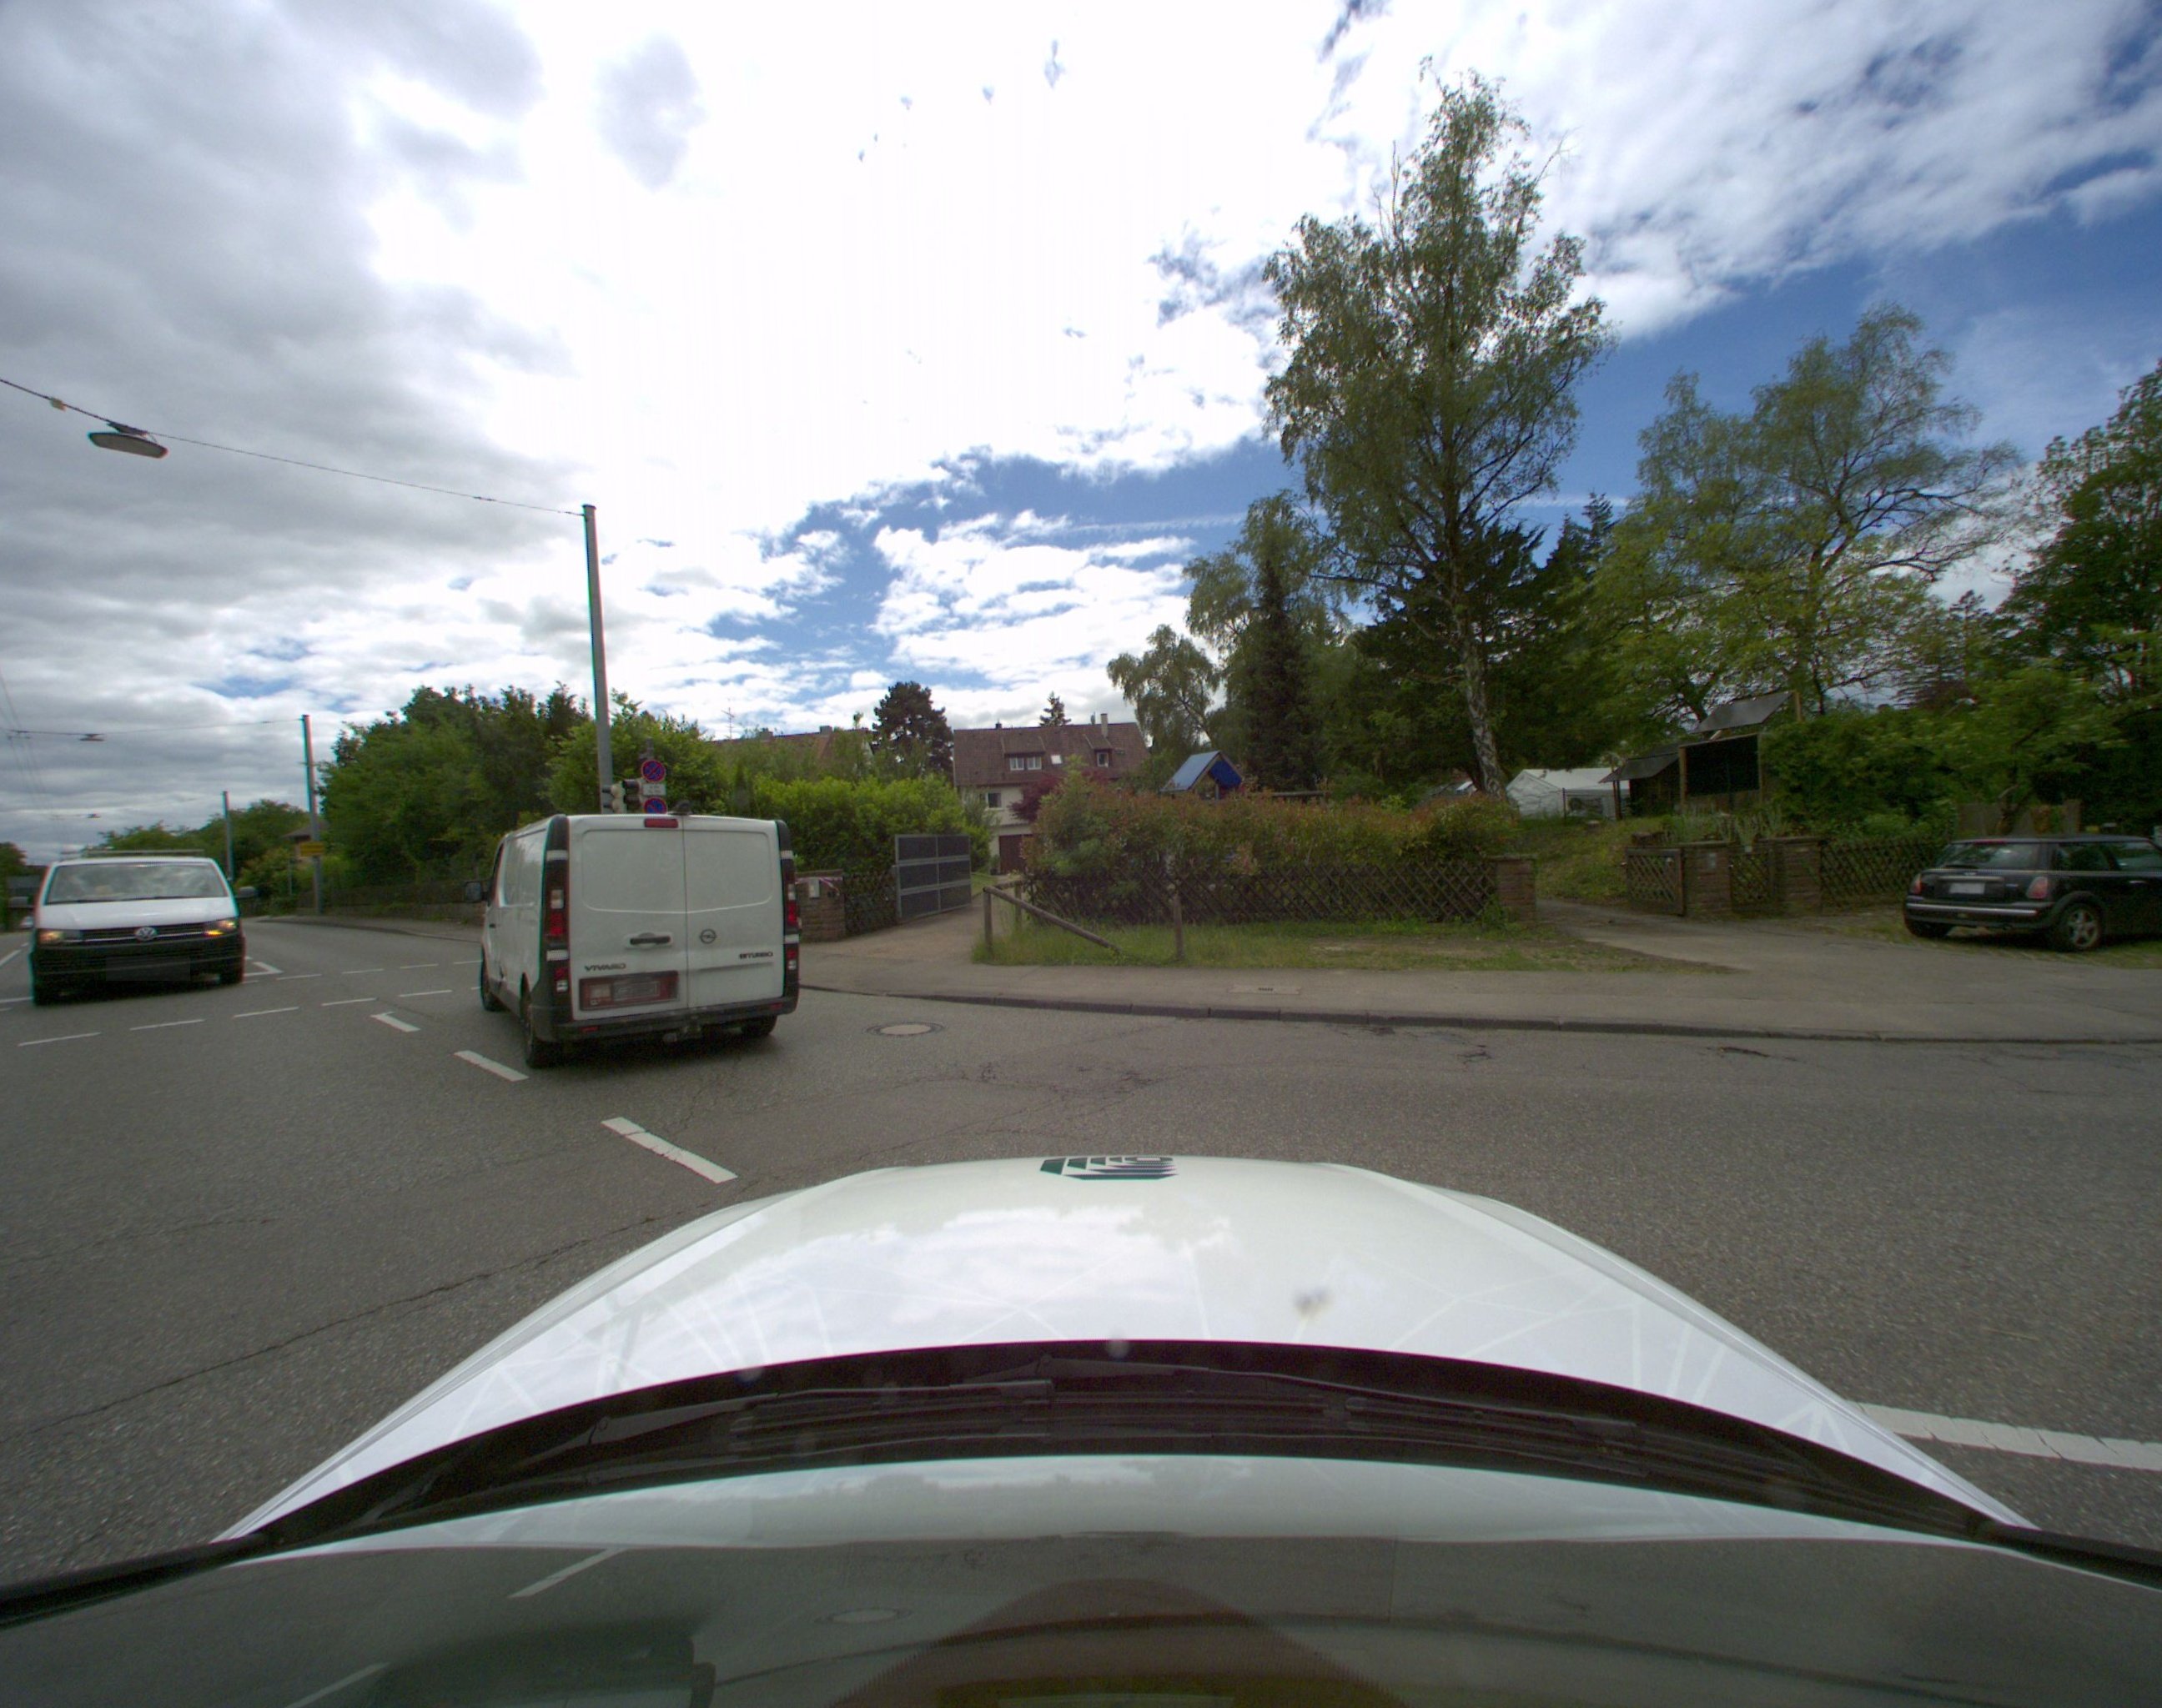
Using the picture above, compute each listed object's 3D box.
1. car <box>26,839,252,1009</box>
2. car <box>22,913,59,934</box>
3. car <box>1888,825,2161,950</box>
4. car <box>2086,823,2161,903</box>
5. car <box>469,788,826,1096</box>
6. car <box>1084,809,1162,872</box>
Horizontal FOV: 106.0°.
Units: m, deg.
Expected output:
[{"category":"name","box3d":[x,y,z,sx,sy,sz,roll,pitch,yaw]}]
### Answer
[{"category":"car","box3d":[-14.319,0.928,12.337,5.104,2.047,1.876,-2,1,39]},{"category":"car","box3d":[-89.367,5.966,69.987,4.356,1.455,1.827,-4,2,38]},{"category":"car","box3d":[12.997,0.355,10.651,3.591,1.390,1.652,-2,1,-8]},{"category":"car","box3d":[22.033,0.155,15.216,1.671,1.525,3.951,2,-2,-43]},{"category":"car","box3d":[-4.493,0.657,7.930,2.023,2.038,4.950,0,-2,-41]},{"category":"car","box3d":[1.479,-0.443,30.707,1.993,2.013,4.272,-6,0,-8]}]
